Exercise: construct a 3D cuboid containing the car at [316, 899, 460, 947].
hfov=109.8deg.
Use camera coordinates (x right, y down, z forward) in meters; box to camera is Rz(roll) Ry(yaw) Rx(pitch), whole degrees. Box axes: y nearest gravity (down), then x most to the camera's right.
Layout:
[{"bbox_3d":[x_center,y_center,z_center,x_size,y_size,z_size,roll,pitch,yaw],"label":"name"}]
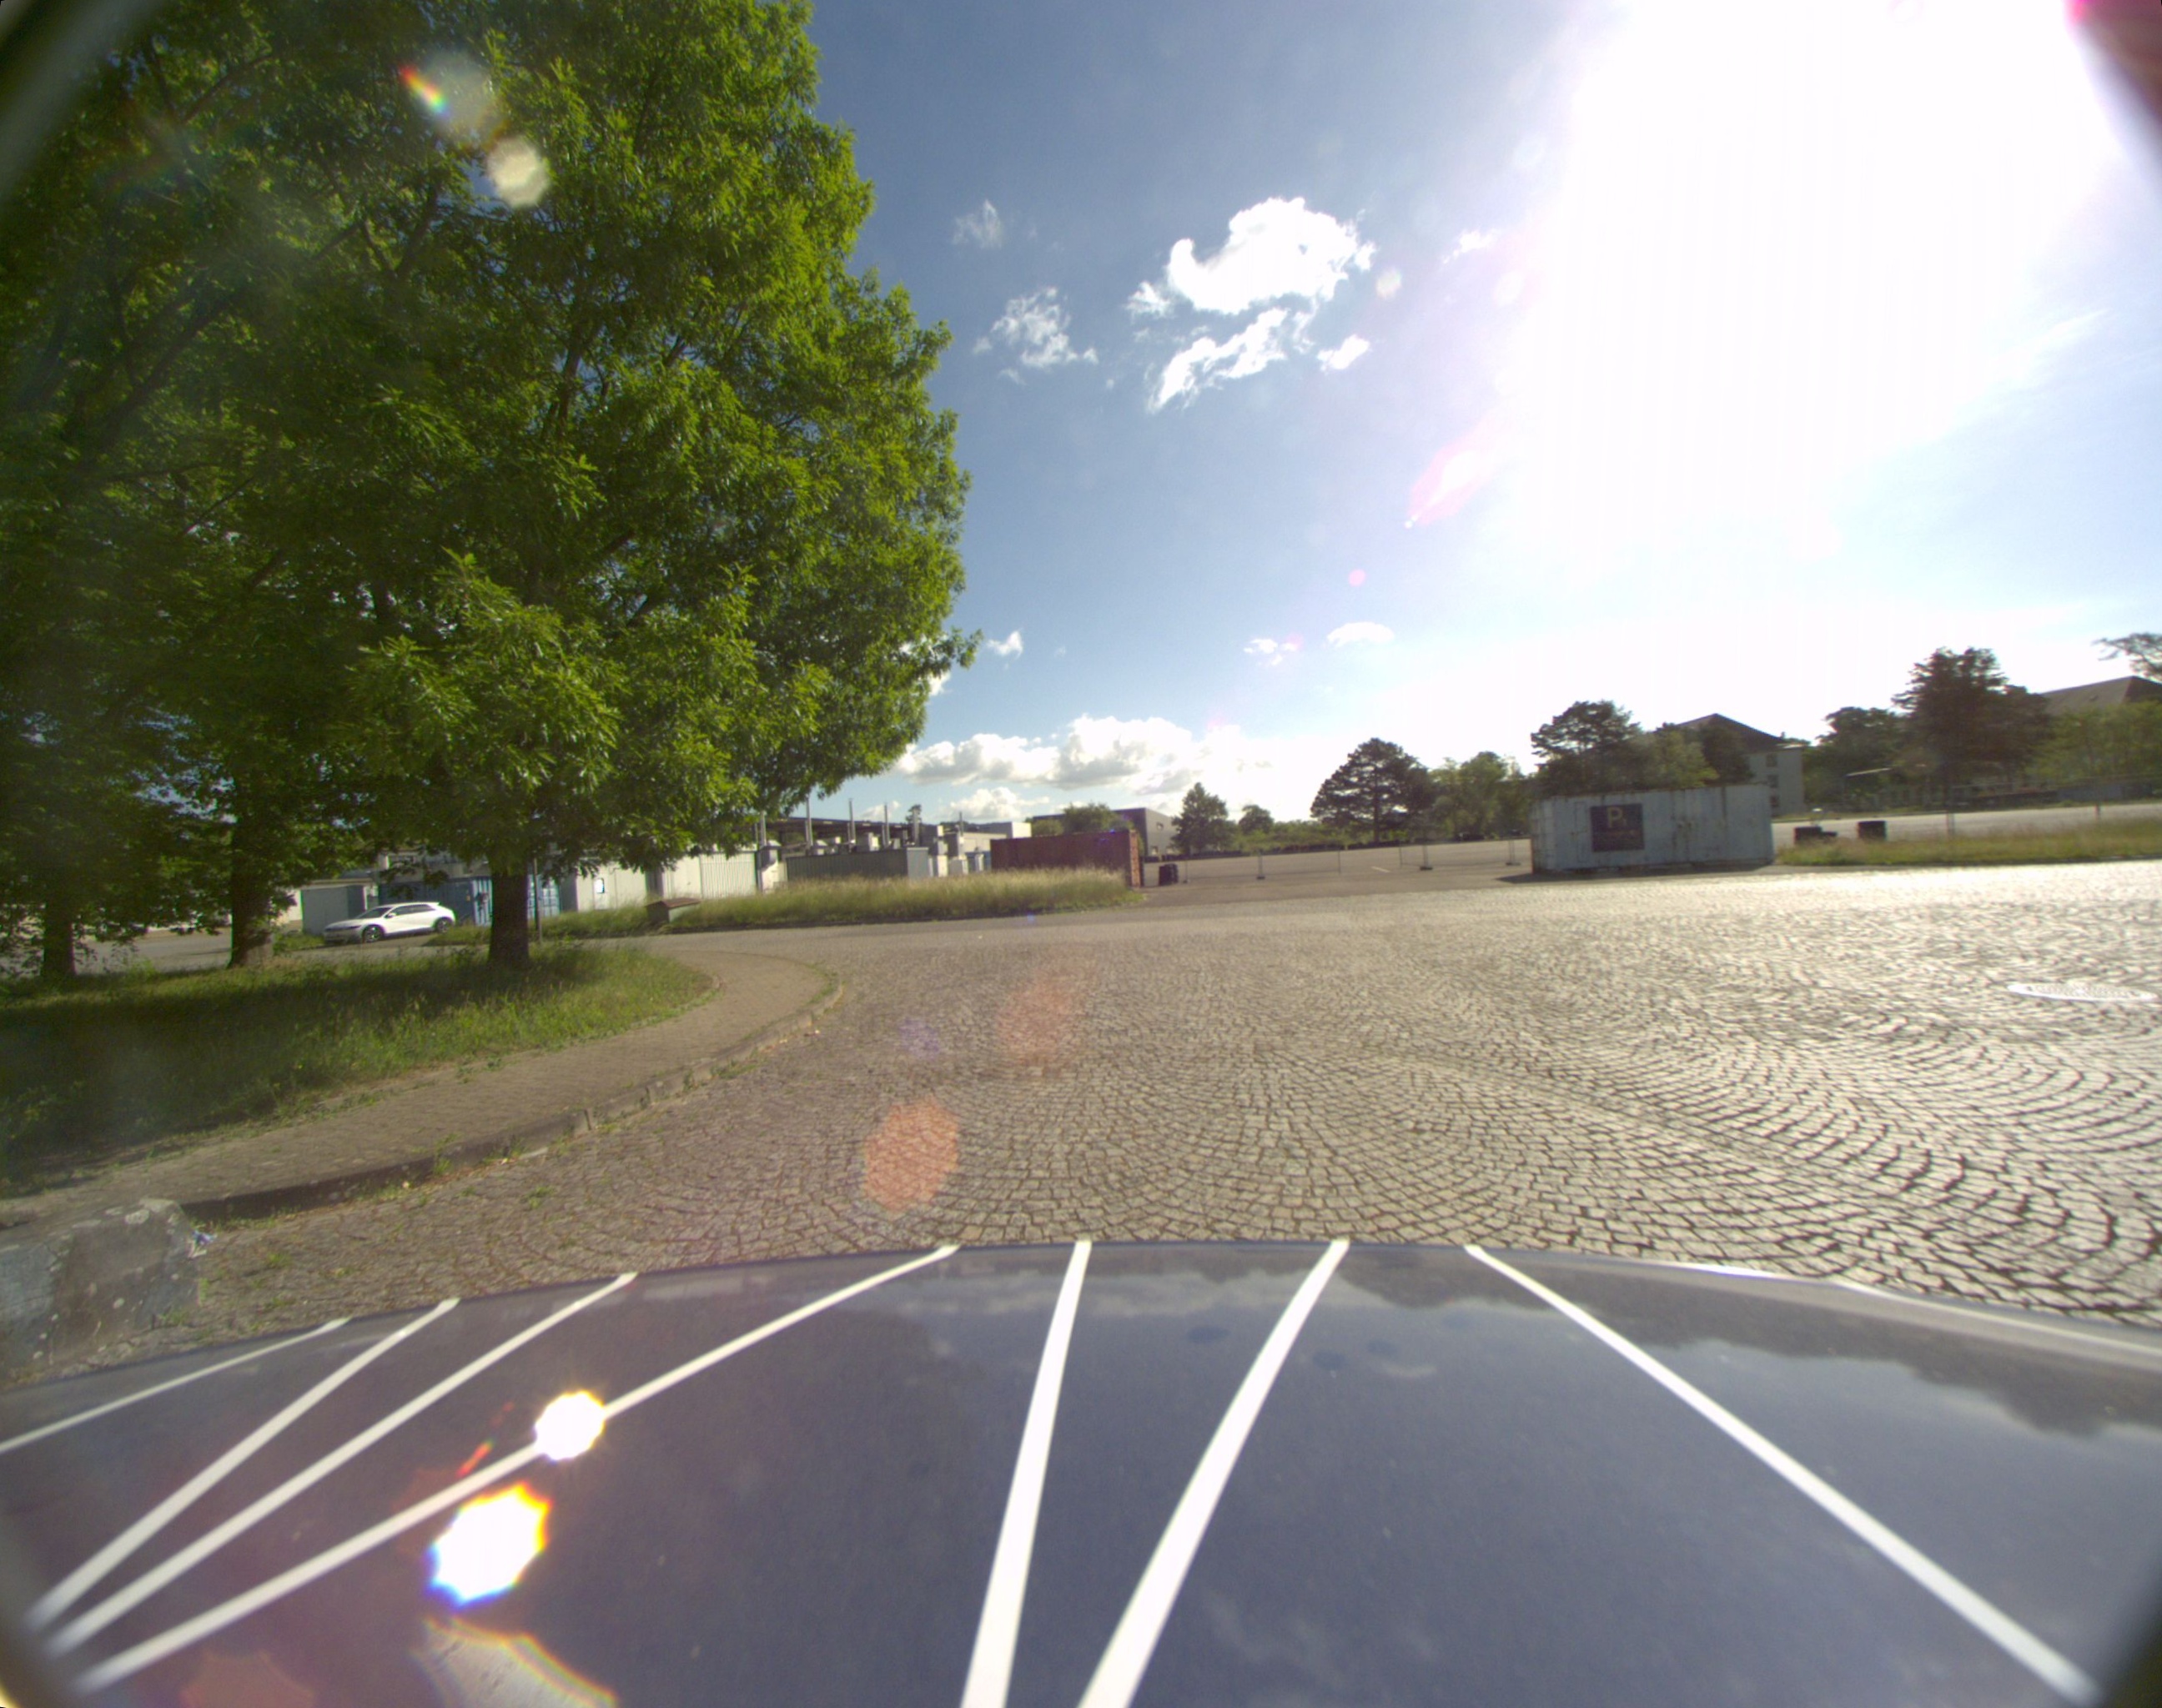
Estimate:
[{"bbox_3d":[-31.307,3.060,34.536,1.821,1.584,4.523,-4,0,12],"label":"car"}]
